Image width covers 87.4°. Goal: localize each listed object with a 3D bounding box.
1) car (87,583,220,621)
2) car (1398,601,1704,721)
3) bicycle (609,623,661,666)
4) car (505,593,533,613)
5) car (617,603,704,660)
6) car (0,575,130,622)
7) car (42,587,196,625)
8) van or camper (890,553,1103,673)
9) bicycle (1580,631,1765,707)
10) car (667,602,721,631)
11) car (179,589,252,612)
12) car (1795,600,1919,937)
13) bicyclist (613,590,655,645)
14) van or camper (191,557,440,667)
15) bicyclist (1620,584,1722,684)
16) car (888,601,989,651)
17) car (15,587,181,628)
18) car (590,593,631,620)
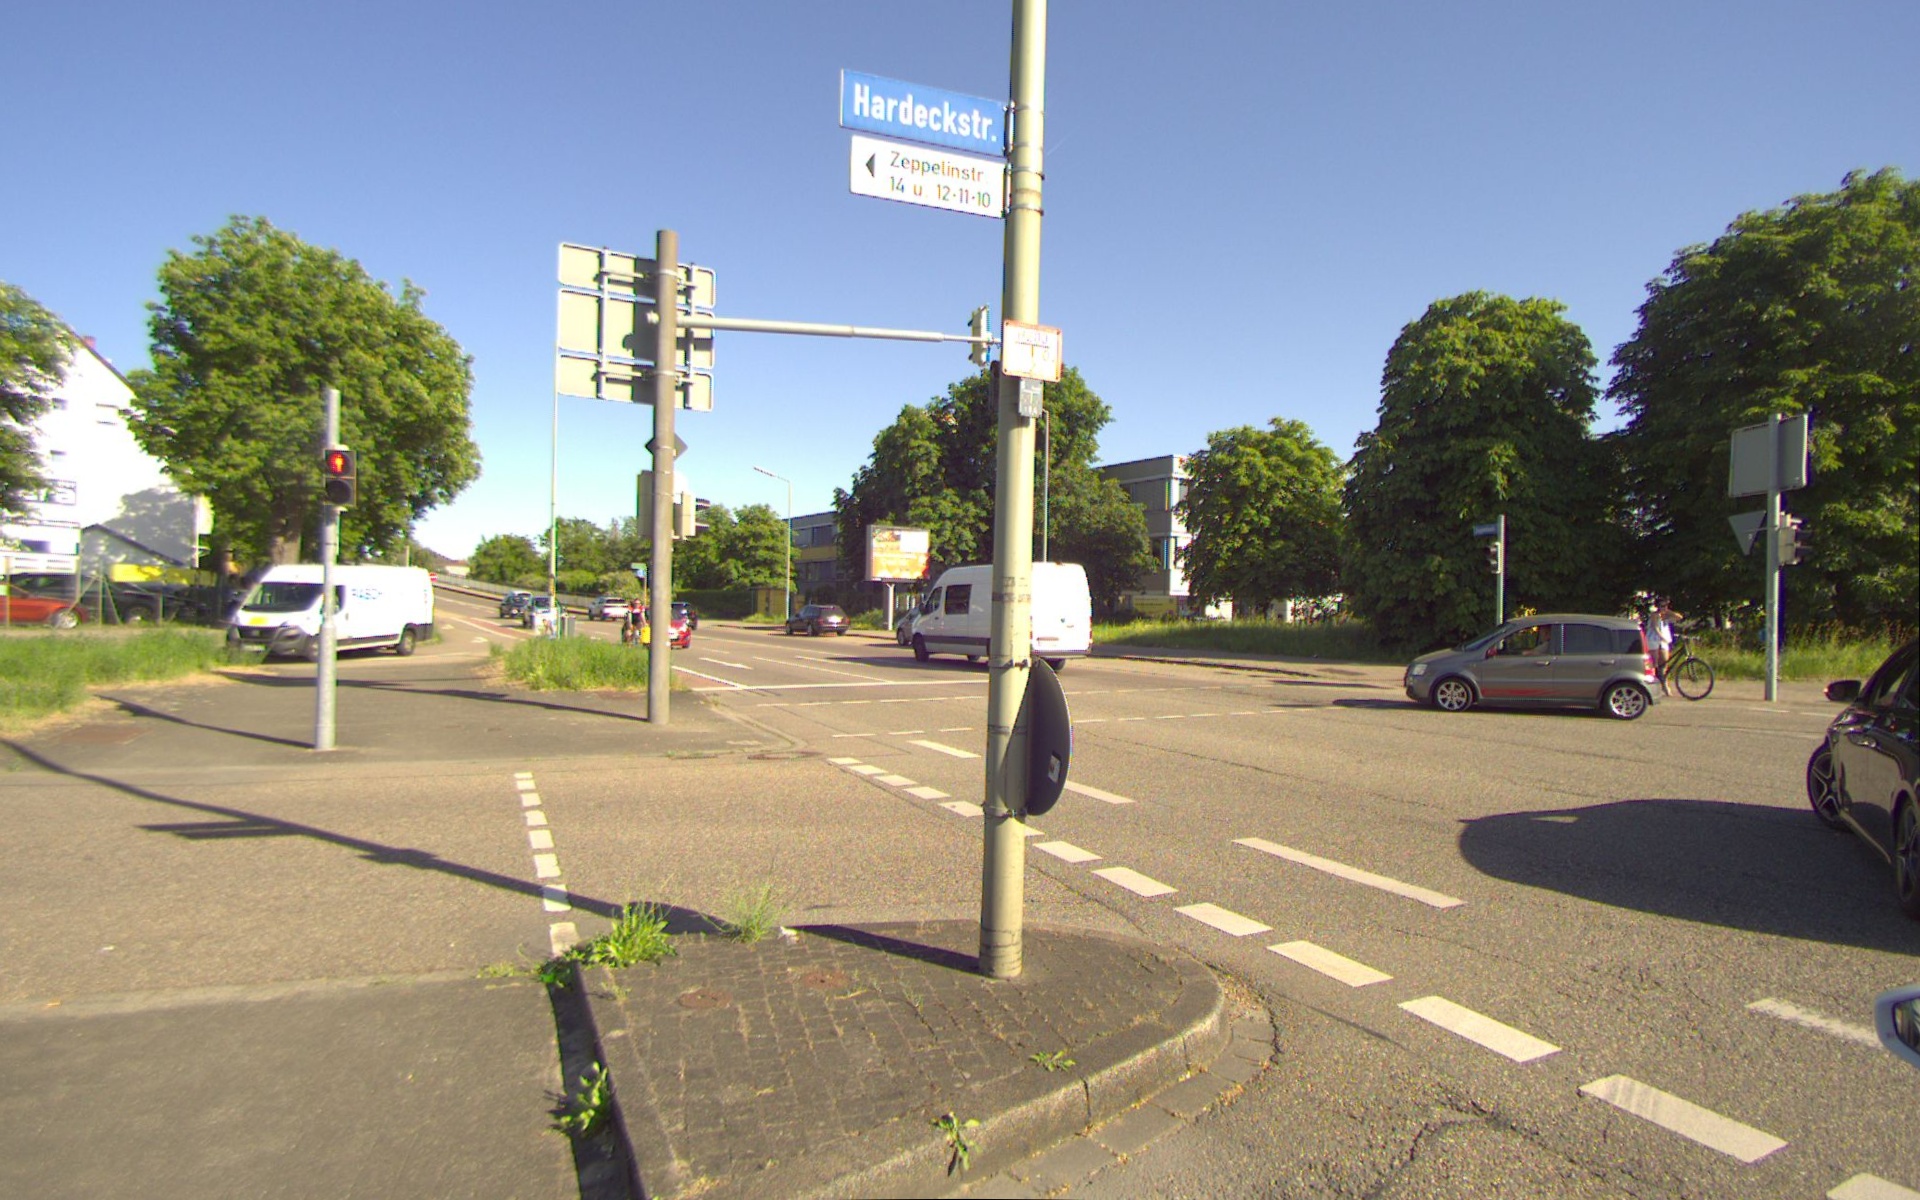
[{"bbox_3d":[-36.816,0.121,45.953,1.784,1.596,4.395,2,0,35],"label":"car"},{"bbox_3d":[9.125,0.887,15.921,3.922,1.661,1.810,1,-1,22],"label":"car"},{"bbox_3d":[-8.795,1.179,27.117,0.928,1.030,2.180,2,0,-28],"label":"bicycle"},{"bbox_3d":[-37.054,0.249,84.318,1.859,1.564,3.972,2,0,-27],"label":"car"},{"bbox_3d":[-10.450,1.067,34.875,1.838,1.759,4.232,2,0,-32],"label":"car"},{"bbox_3d":[-27.905,-0.066,29.395,2.316,1.327,5.057,2,0,24],"label":"car"},{"bbox_3d":[-30.373,0.228,36.368,2.011,1.257,3.918,2,0,37],"label":"car"},{"bbox_3d":[0.715,0.296,26.826,2.207,2.775,7.022,2,0,-30],"label":"van or camper"},{"bbox_3d":[12.678,1.195,18.056,0.887,1.140,2.948,2,0,-9],"label":"bicycle"},{"bbox_3d":[-14.641,0.874,55.133,1.901,1.508,4.237,0,0,-29],"label":"car"},{"bbox_3d":[-52.186,0.032,70.478,1.751,1.530,3.667,2,0,25],"label":"car"},{"bbox_3d":[6.255,0.846,5.765,1.745,1.614,3.979,1,0,33],"label":"car"},{"bbox_3d":[-8.789,0.471,27.079,0.925,1.420,0.816,2,0,-29],"label":"bicyclist"},{"bbox_3d":[-16.981,0.299,27.120,2.555,2.617,6.610,0,0,-1],"label":"van or camper"},{"bbox_3d":[12.707,0.596,17.997,0.876,1.715,1.188,2,0,-9],"label":"bicyclist"},{"bbox_3d":[-0.888,0.932,38.093,1.856,1.745,4.576,-1,0,-30],"label":"car"},{"bbox_3d":[-28.995,0.267,33.880,2.011,1.257,3.918,2,0,37],"label":"car"},{"bbox_3d":[-22.820,0.416,65.498,1.975,1.702,3.971,0,0,-28],"label":"car"}]
